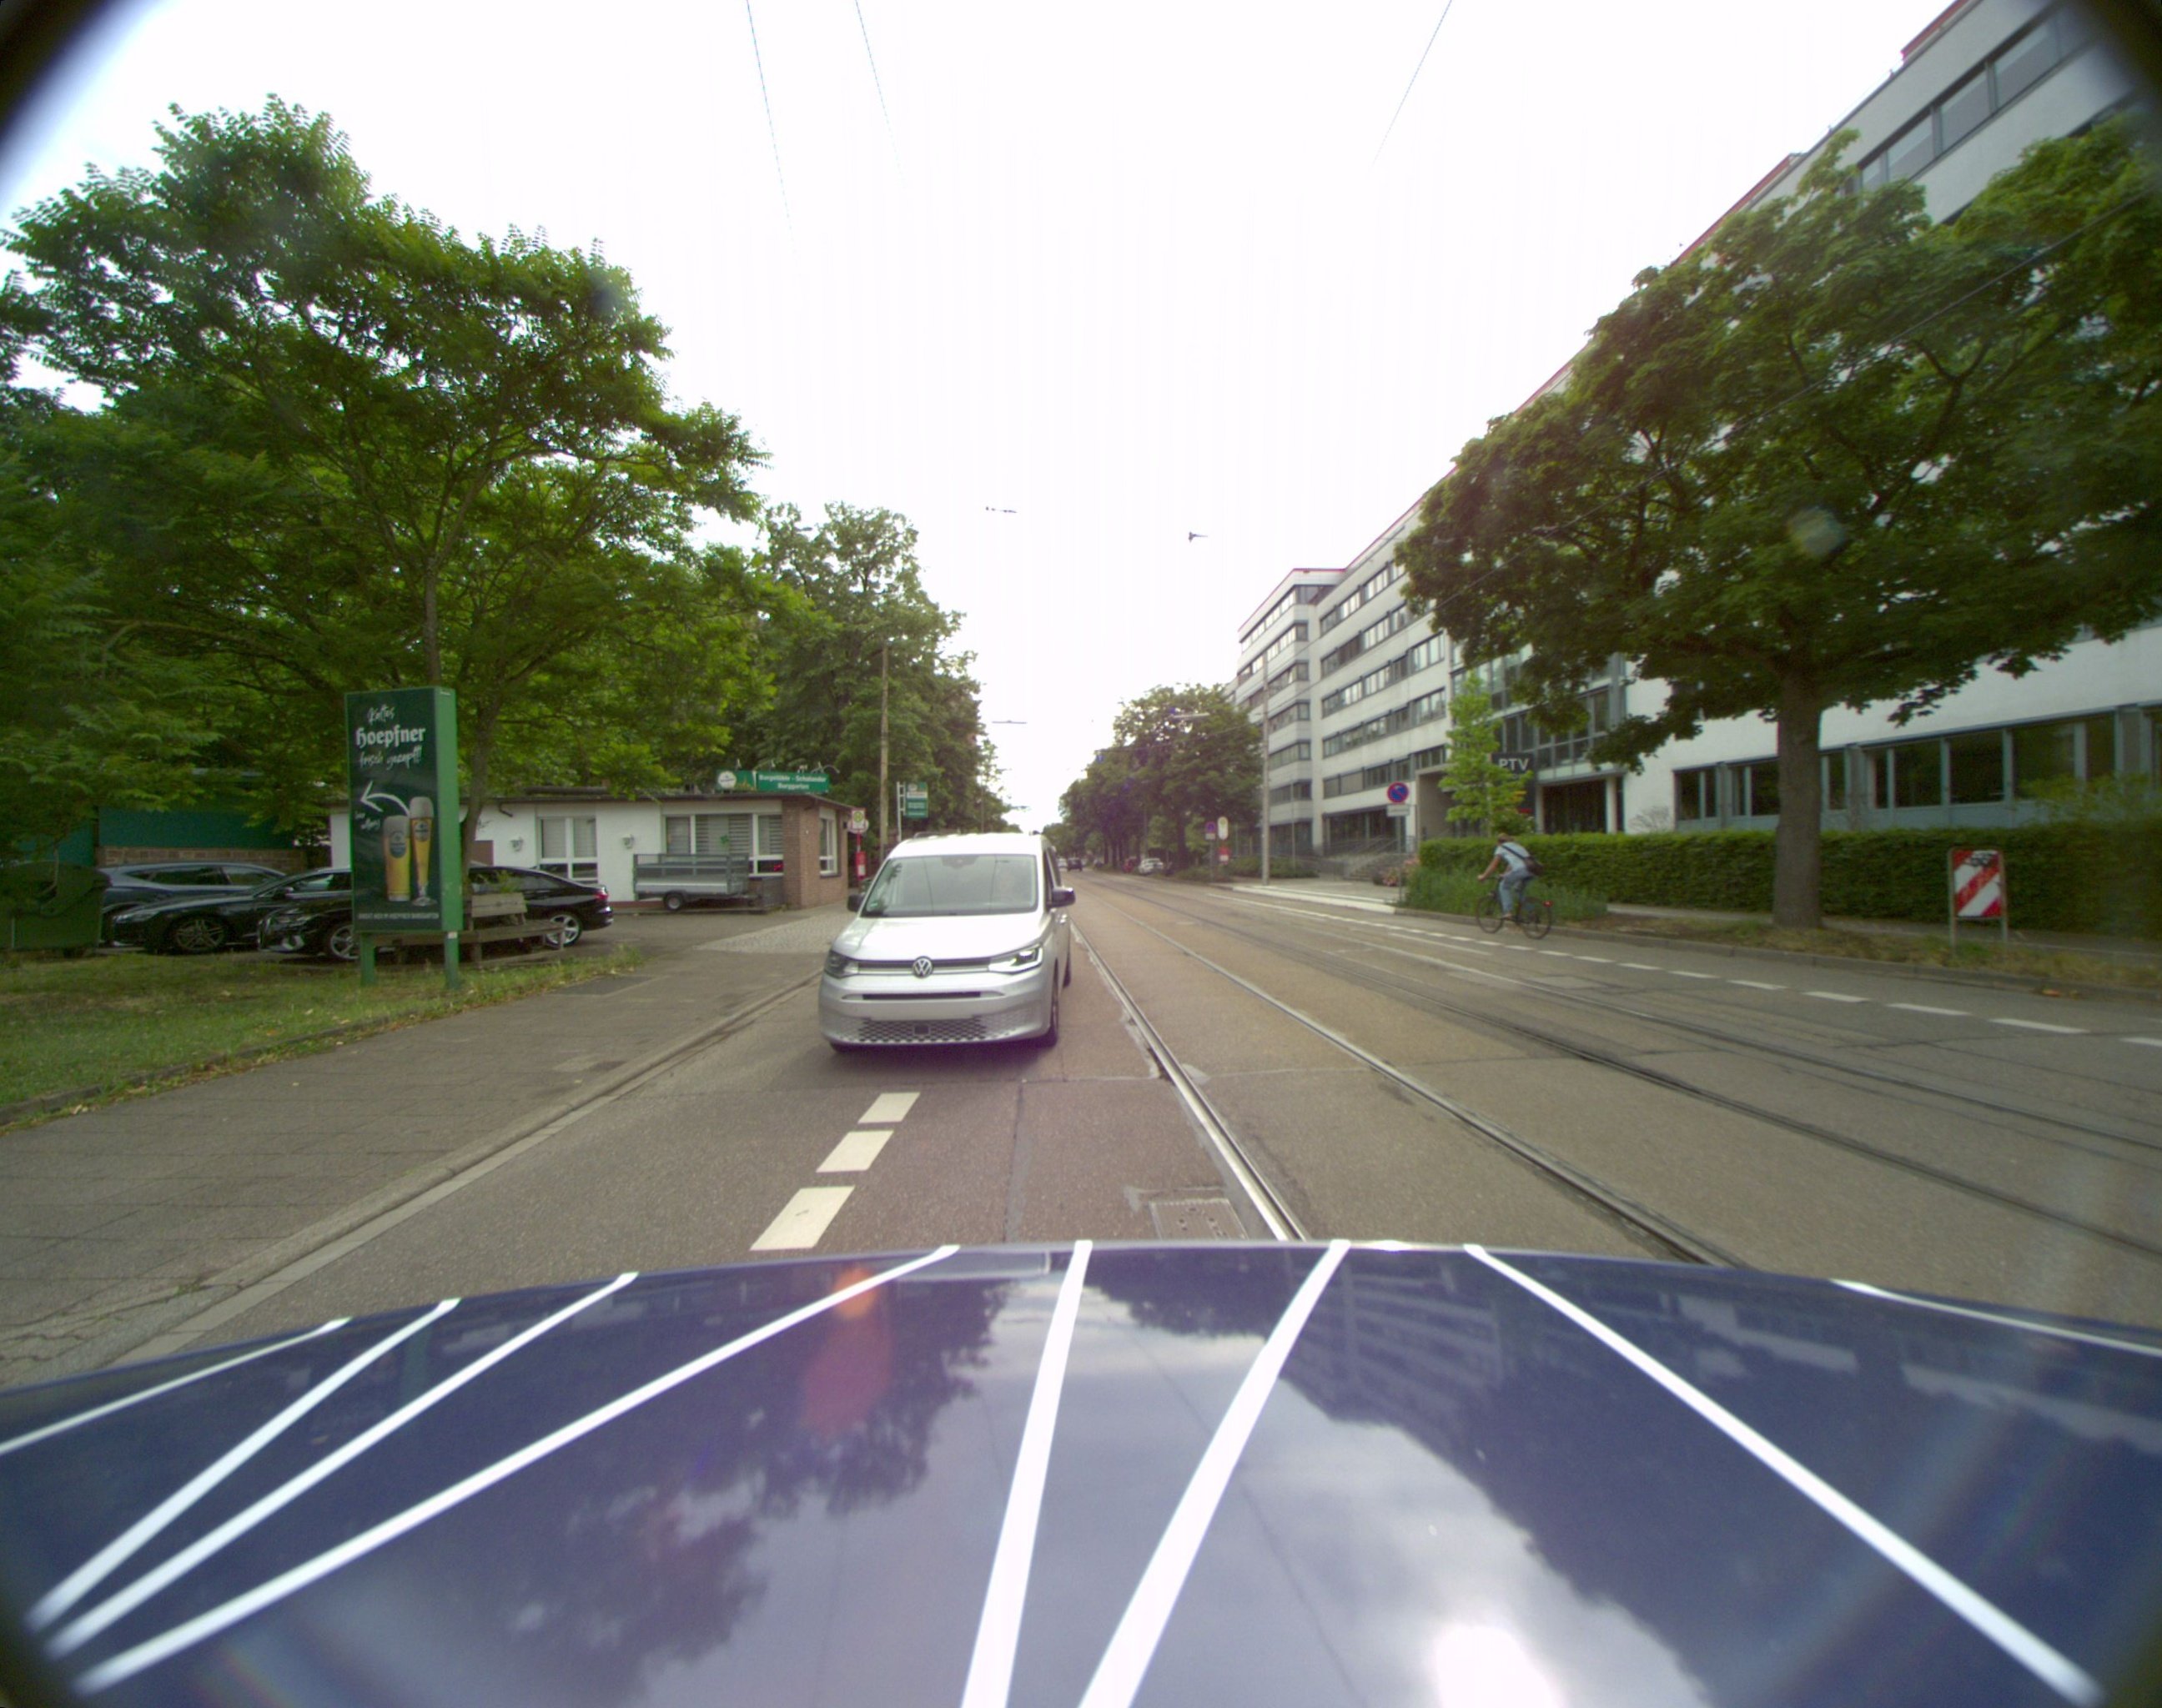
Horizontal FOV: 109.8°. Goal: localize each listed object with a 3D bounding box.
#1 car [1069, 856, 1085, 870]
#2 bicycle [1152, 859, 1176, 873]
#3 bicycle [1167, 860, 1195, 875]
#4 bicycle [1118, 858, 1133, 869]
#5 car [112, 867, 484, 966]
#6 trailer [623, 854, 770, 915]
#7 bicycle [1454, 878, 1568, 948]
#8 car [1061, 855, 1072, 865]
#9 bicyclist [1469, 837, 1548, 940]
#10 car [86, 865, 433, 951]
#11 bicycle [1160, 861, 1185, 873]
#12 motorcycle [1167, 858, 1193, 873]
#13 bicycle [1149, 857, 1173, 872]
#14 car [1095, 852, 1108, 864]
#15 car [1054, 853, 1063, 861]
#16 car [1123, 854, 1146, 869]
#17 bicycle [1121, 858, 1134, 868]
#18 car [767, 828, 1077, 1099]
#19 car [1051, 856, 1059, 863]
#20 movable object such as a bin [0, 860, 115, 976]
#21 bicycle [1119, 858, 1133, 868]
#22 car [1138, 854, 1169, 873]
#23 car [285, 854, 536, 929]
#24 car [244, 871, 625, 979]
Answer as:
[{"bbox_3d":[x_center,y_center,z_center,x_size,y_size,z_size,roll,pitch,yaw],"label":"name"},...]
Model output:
[{"bbox_3d":[-0.529,1.110,94.982,1.832,1.727,4.333,-1,1,-3],"label":"car"},{"bbox_3d":[6.695,0.928,61.102,1.812,1.094,0.631,0,1,-10],"label":"bicycle"},{"bbox_3d":[7.195,0.947,54.881,1.835,1.047,0.741,-1,0,-12],"label":"bicycle"},{"bbox_3d":[4.996,1.041,85.216,1.475,1.085,0.616,-3,1,-16],"label":"bicycle"},{"bbox_3d":[-14.049,0.989,13.933,1.872,1.419,4.552,2,1,39],"label":"car"},{"bbox_3d":[-10.532,0.803,20.976,3.170,1.530,1.620,-1,1,-2],"label":"trailer"},{"bbox_3d":[7.539,0.996,13.442,0.589,1.067,1.954,0,0,-13],"label":"bicycle"},{"bbox_3d":[-2.474,0.986,128.537,1.708,1.521,3.740,-2,1,-5],"label":"car"},{"bbox_3d":[7.539,0.584,13.436,0.738,1.739,0.977,0,1,-14],"label":"bicyclist"},{"bbox_3d":[-16.158,0.963,15.214,1.980,1.450,4.501,-1,-1,36],"label":"car"},{"bbox_3d":[7.097,1.003,58.731,1.812,0.894,0.631,0,1,-10],"label":"bicycle"},{"bbox_3d":[7.444,0.845,57.251,1.794,1.044,0.732,-2,1,-10],"label":"motorcycle"},{"bbox_3d":[6.545,0.880,62.255,1.869,1.180,0.632,0,1,1],"label":"bicycle"},{"bbox_3d":[3.131,0.597,116.150,1.815,1.699,3.999,-3,1,0],"label":"car"},{"bbox_3d":[-4.609,0.640,154.631,1.753,1.477,4.062,0,-1,-3],"label":"car"},{"bbox_3d":[5.491,0.770,78.465,1.633,1.439,3.754,-4,1,-7],"label":"car"},{"bbox_3d":[5.265,1.022,86.237,1.473,1.134,0.617,-1,1,-5],"label":"bicycle"},{"bbox_3d":[-1.080,0.748,7.538,1.850,1.796,4.937,-1,0,2],"label":"car"},{"bbox_3d":[-6.366,1.321,186.103,1.847,1.644,4.388,1,0,-3],"label":"car"},{"bbox_3d":[-14.386,0.866,10.556,1.418,1.504,1.127,-2,-4,38],"label":"movable object such as a bin"},{"bbox_3d":[5.186,1.019,86.738,1.473,1.134,0.617,-3,1,-5],"label":"bicycle"},{"bbox_3d":[6.206,0.820,65.230,1.886,1.485,4.751,-3,0,-4],"label":"car"},{"bbox_3d":[-16.426,0.894,18.779,4.434,1.637,1.991,-1,1,2],"label":"car"},{"bbox_3d":[-10.516,1.012,12.681,1.929,1.399,4.594,-1,-1,41],"label":"car"}]
